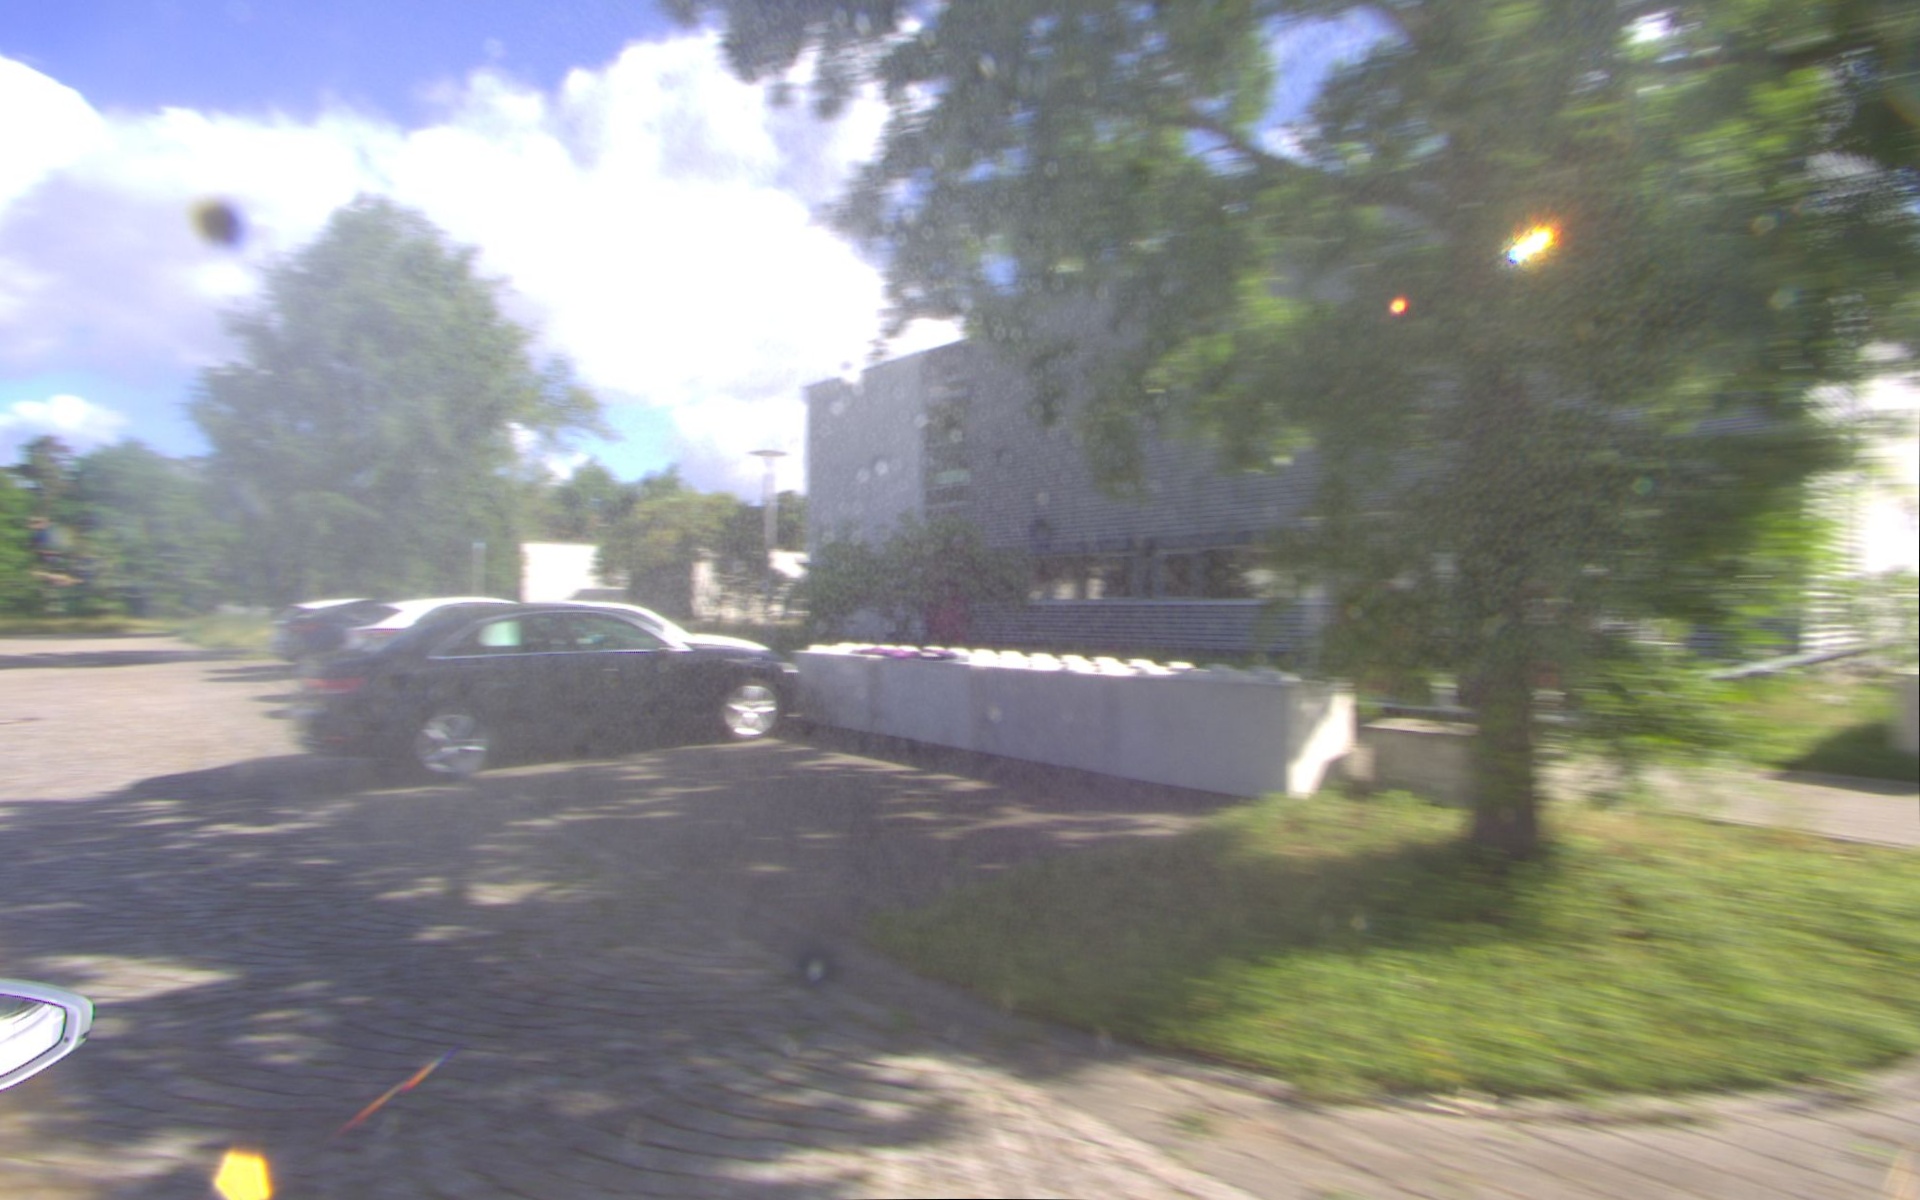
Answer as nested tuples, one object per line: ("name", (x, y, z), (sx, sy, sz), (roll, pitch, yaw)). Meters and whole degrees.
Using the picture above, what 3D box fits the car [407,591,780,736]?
("car", (-4.519, 0.670, 12.622), (4.099, 1.480, 1.679), (-2, 1, -36))

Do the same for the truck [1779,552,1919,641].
("truck", (42.612, -0.139, 45.468), (2.621, 3.868, 8.034), (0, 0, -40))

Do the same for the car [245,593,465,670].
("car", (-13.203, 0.621, 21.968), (3.880, 1.455, 1.780), (-2, 1, -40))

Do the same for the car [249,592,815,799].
("car", (-3.842, 0.697, 9.613), (4.683, 1.442, 1.741), (-2, 1, -42))

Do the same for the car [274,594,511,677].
("car", (-11.325, 0.635, 20.113), (3.880, 1.436, 1.678), (-2, 1, -40))

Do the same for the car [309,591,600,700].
("car", (-8.067, 0.637, 16.149), (3.880, 1.466, 1.740), (-2, 1, -40))

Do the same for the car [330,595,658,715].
("car", (-6.483, 0.669, 14.145), (3.880, 1.390, 1.713), (-2, 1, -40))
